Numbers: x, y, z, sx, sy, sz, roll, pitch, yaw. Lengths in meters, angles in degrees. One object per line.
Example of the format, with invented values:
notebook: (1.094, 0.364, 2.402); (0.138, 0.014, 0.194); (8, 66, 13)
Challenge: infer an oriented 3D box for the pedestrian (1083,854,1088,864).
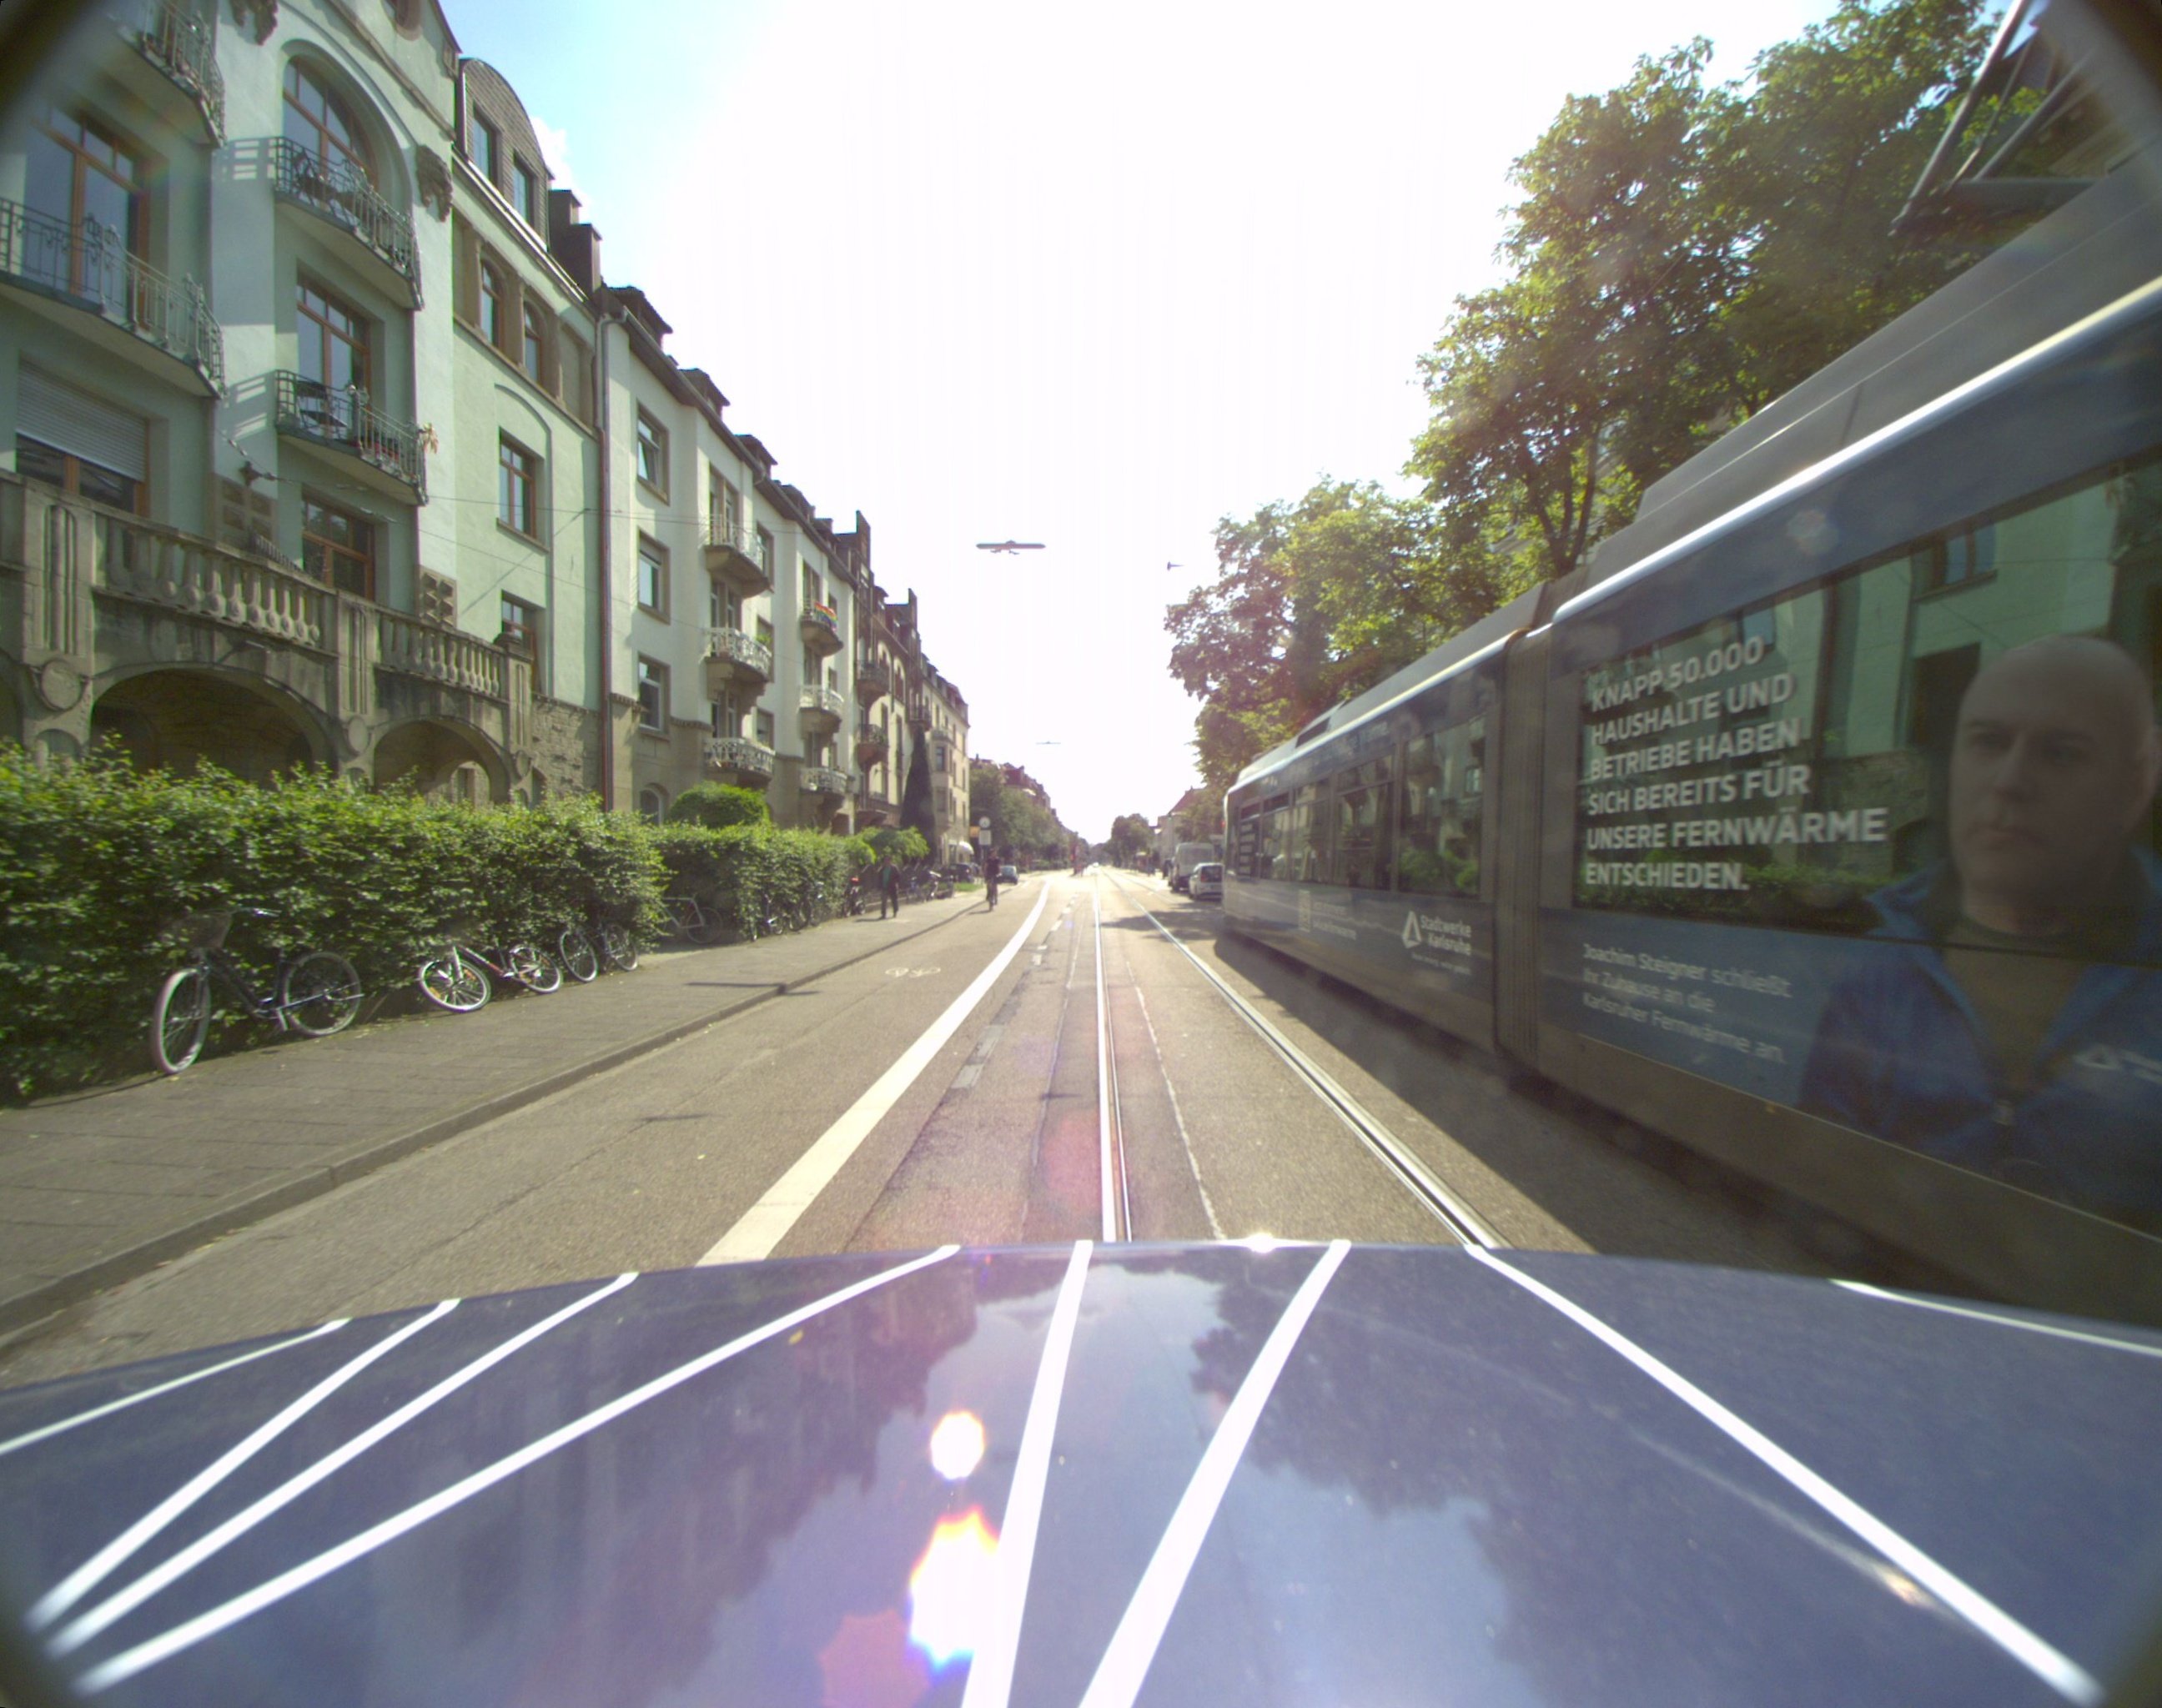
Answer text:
pedestrian: (0.714, 0.771, 117.891); (0.702, 1.524, 0.557); (-2, 1, 1)

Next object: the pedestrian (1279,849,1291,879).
pedestrian: (13.949, 0.672, 52.016); (0.484, 2.002, 0.807); (-2, 1, 34)

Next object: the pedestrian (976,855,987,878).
pedestrian: (-8.192, 1.041, 62.610); (0.661, 1.831, 0.873); (6, 0, -7)

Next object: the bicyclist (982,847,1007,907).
bicyclist: (-2.854, 0.748, 25.113); (0.608, 1.937, 1.130); (-2, 1, 1)

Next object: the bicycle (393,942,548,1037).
bicycle: (-6.147, 1.332, 7.745); (0.280, 0.673, 1.559); (3, 0, 1)

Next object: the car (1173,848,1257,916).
car: (5.391, 1.064, 31.516); (2.322, 2.492, 6.363); (0, 0, 0)

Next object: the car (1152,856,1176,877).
car: (8.062, 1.157, 74.107); (1.932, 1.906, 5.124); (3, 0, 2)

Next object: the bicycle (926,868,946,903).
bicycle: (-5.548, 1.176, 29.096); (0.452, 1.253, 1.844); (2, 0, -2)

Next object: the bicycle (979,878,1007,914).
bicycle: (-2.880, 1.352, 24.924); (0.617, 1.039, 1.836); (3, 1, 1)

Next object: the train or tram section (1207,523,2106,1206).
train or tram section: (3.917, 0.030, 10.014); (2.659, 3.416, 12.315); (1, 0, 1)

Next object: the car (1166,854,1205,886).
car: (6.718, 1.029, 49.378); (1.991, 1.951, 5.181); (1, -1, 3)

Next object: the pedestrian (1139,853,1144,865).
pedestrian: (8.768, 0.735, 110.079); (0.498, 1.660, 0.678); (2, 1, -5)

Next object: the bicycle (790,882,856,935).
bicycle: (-5.740, 1.186, 17.054); (0.612, 0.990, 2.362); (2, 0, 1)

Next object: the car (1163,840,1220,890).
car: (5.953, 0.619, 41.686); (2.321, 2.492, 6.365); (0, -1, 2)

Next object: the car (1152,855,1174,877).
car: (8.922, 1.260, 82.780); (1.998, 1.984, 5.086); (-2, 4, 2)

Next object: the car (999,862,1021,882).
car: (-5.715, 1.449, 61.404); (1.517, 1.490, 2.794); (2, 0, -1)

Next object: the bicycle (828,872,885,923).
bicycle: (-6.019, 1.127, 20.528); (0.742, 1.224, 2.516); (0, 0, 0)

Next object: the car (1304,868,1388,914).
car: (9.374, 1.260, 27.219); (1.630, 1.463, 4.206); (-3, -1, 2)

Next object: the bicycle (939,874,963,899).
bicycle: (-5.662, 1.394, 33.244); (0.600, 0.955, 3.066); (3, 0, -2)

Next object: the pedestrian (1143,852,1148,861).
pedestrian: (9.256, 0.326, 109.044); (0.605, 1.329, 0.406); (2, 1, -5)

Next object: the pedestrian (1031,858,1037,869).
pedestrian: (-7.227, 1.529, 117.124); (0.707, 1.644, 0.534); (-2, 1, 1)

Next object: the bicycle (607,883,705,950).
bicycle: (-7.514, 1.099, 13.446); (1.512, 1.108, 0.356); (2, 1, 0)

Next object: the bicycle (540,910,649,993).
bicycle: (-6.297, 1.225, 9.919); (0.274, 0.901, 1.669); (3, -1, 1)

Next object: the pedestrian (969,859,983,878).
pedestrian: (-10.698, 1.473, 77.571); (1.013, 1.758, 0.850); (9, 0, 2)

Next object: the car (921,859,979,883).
car: (-8.654, 1.115, 50.536); (3.409, 1.515, 1.972); (1, 0, 3)

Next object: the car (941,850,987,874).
car: (-14.227, 0.986, 92.051); (2.397, 2.777, 6.657); (-1, -1, -38)

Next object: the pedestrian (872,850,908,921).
pedestrian: (-5.081, 0.837, 20.261); (0.790, 1.850, 0.580); (2, 0, -6)

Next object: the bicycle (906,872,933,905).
bicycle: (-5.733, 1.199, 27.018); (0.452, 1.116, 1.844); (2, 0, 2)

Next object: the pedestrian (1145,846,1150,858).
pedestrian: (9.166, -0.320, 105.076); (0.473, 1.647, 0.746); (5, 1, 0)

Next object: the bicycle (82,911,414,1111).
bicycle: (-6.178, 1.078, 5.832); (0.280, 1.102, 2.011); (3, 0, 1)

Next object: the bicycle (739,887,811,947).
bicycle: (-5.859, 1.170, 14.656); (0.614, 0.983, 1.872); (1, 0, 1)

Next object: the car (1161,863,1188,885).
car: (7.650, 1.600, 62.501); (1.697, 1.472, 4.480); (2, 3, 1)
